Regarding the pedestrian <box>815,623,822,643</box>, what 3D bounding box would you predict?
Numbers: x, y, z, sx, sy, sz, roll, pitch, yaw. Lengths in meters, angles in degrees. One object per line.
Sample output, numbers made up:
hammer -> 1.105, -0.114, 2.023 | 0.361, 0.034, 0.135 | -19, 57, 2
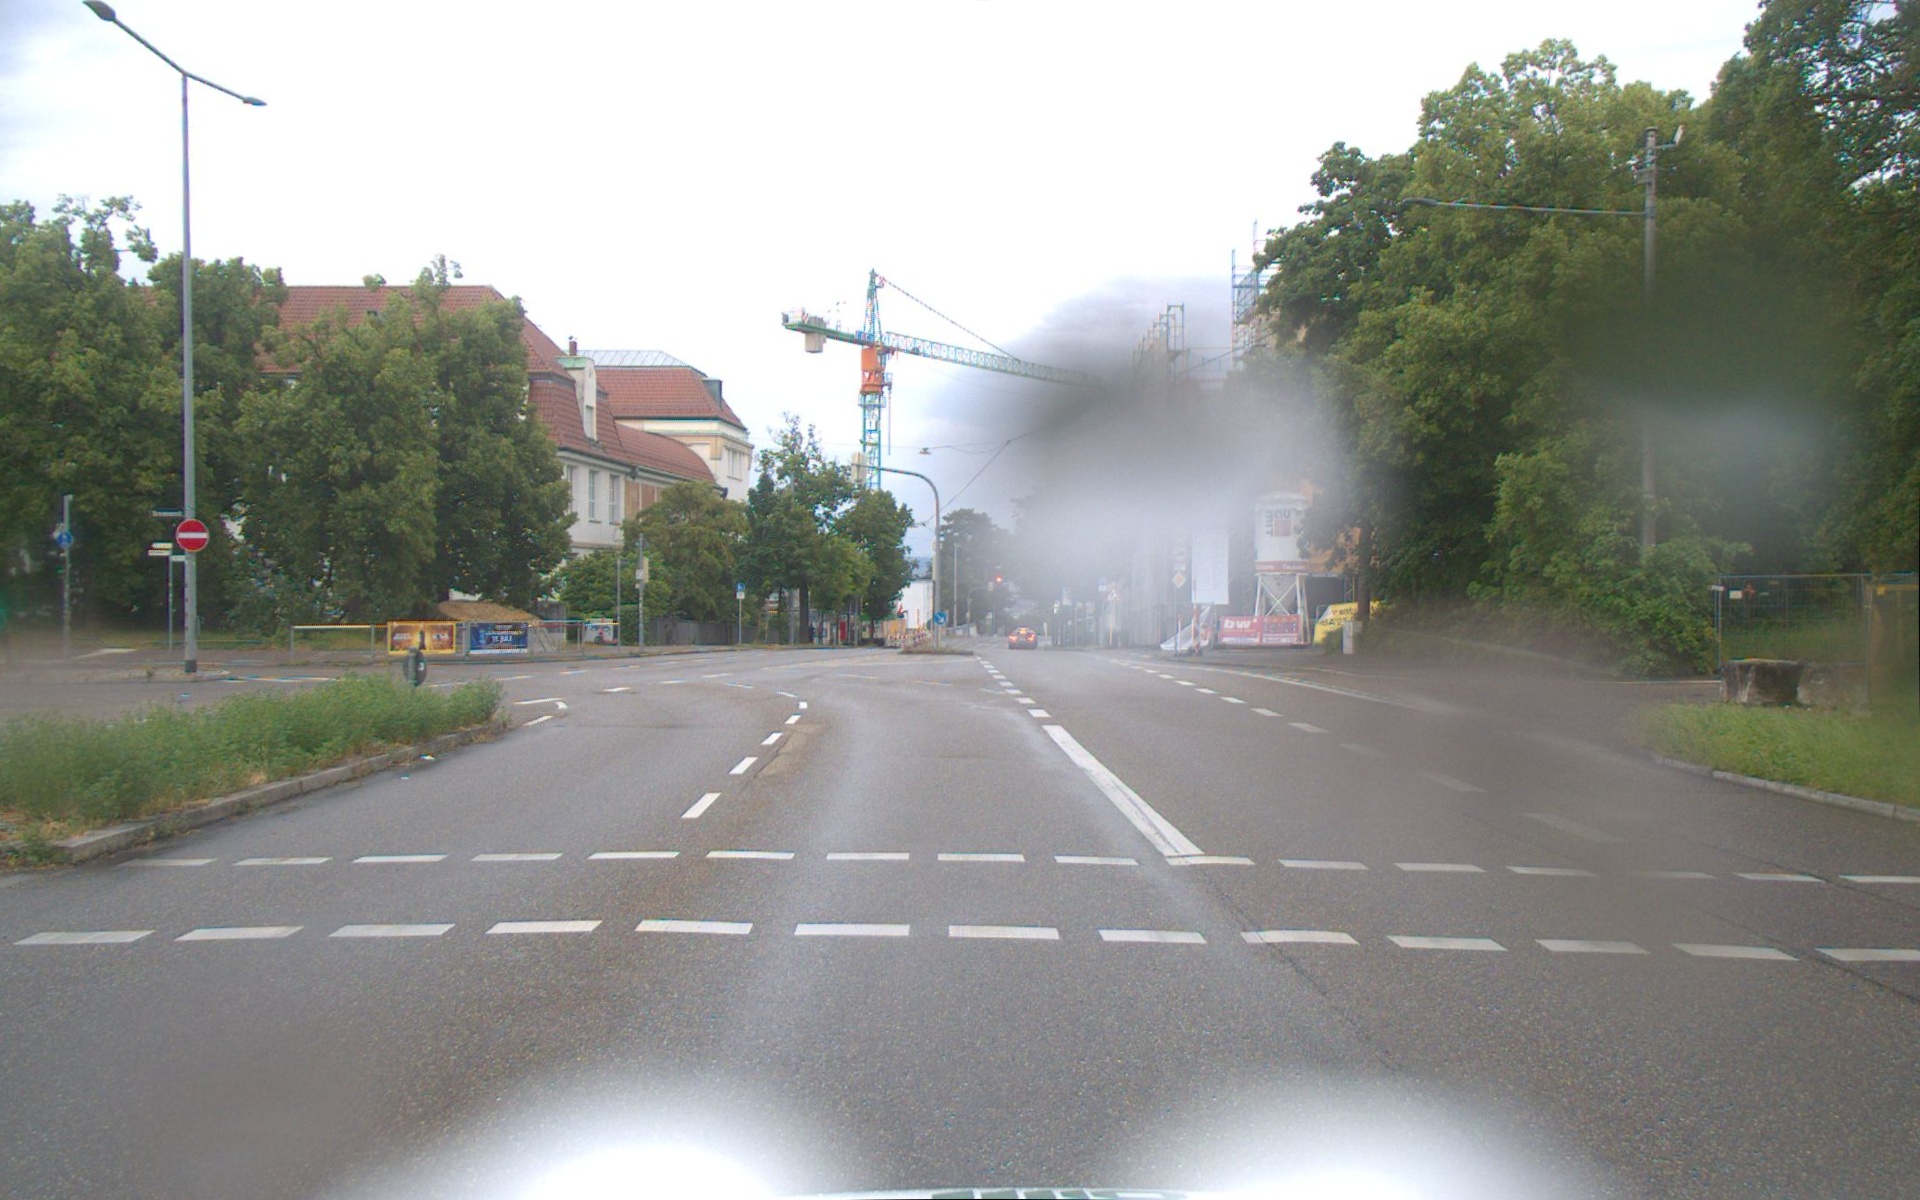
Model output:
pedestrian -> -10.150, 2.335, 118.460 | 0.465, 1.421, 0.411 | 0, 0, -1

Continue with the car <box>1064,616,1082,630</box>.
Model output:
car -> 14.955, 3.097, 219.508 | 1.951, 1.780, 4.003 | -1, 0, 10

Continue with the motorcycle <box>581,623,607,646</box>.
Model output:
motorcycle -> -14.226, 1.340, 64.314 | 0.832, 0.893, 0.877 | 1, 0, -1

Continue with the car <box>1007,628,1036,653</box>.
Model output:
car -> 4.607, 3.049, 124.839 | 1.953, 1.780, 3.999 | -1, 0, -1

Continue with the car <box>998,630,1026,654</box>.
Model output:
car -> 4.071, 3.308, 130.133 | 1.953, 1.780, 3.999 | -1, 0, -1

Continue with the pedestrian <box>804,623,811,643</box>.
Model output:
pedestrian -> -10.929, 2.361, 118.571 | 0.465, 1.421, 0.411 | -1, 0, -1

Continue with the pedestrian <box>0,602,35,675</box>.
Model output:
pedestrian -> -23.496, 0.936, 40.662 | 0.903, 1.757, 0.947 | 1, 0, 7
